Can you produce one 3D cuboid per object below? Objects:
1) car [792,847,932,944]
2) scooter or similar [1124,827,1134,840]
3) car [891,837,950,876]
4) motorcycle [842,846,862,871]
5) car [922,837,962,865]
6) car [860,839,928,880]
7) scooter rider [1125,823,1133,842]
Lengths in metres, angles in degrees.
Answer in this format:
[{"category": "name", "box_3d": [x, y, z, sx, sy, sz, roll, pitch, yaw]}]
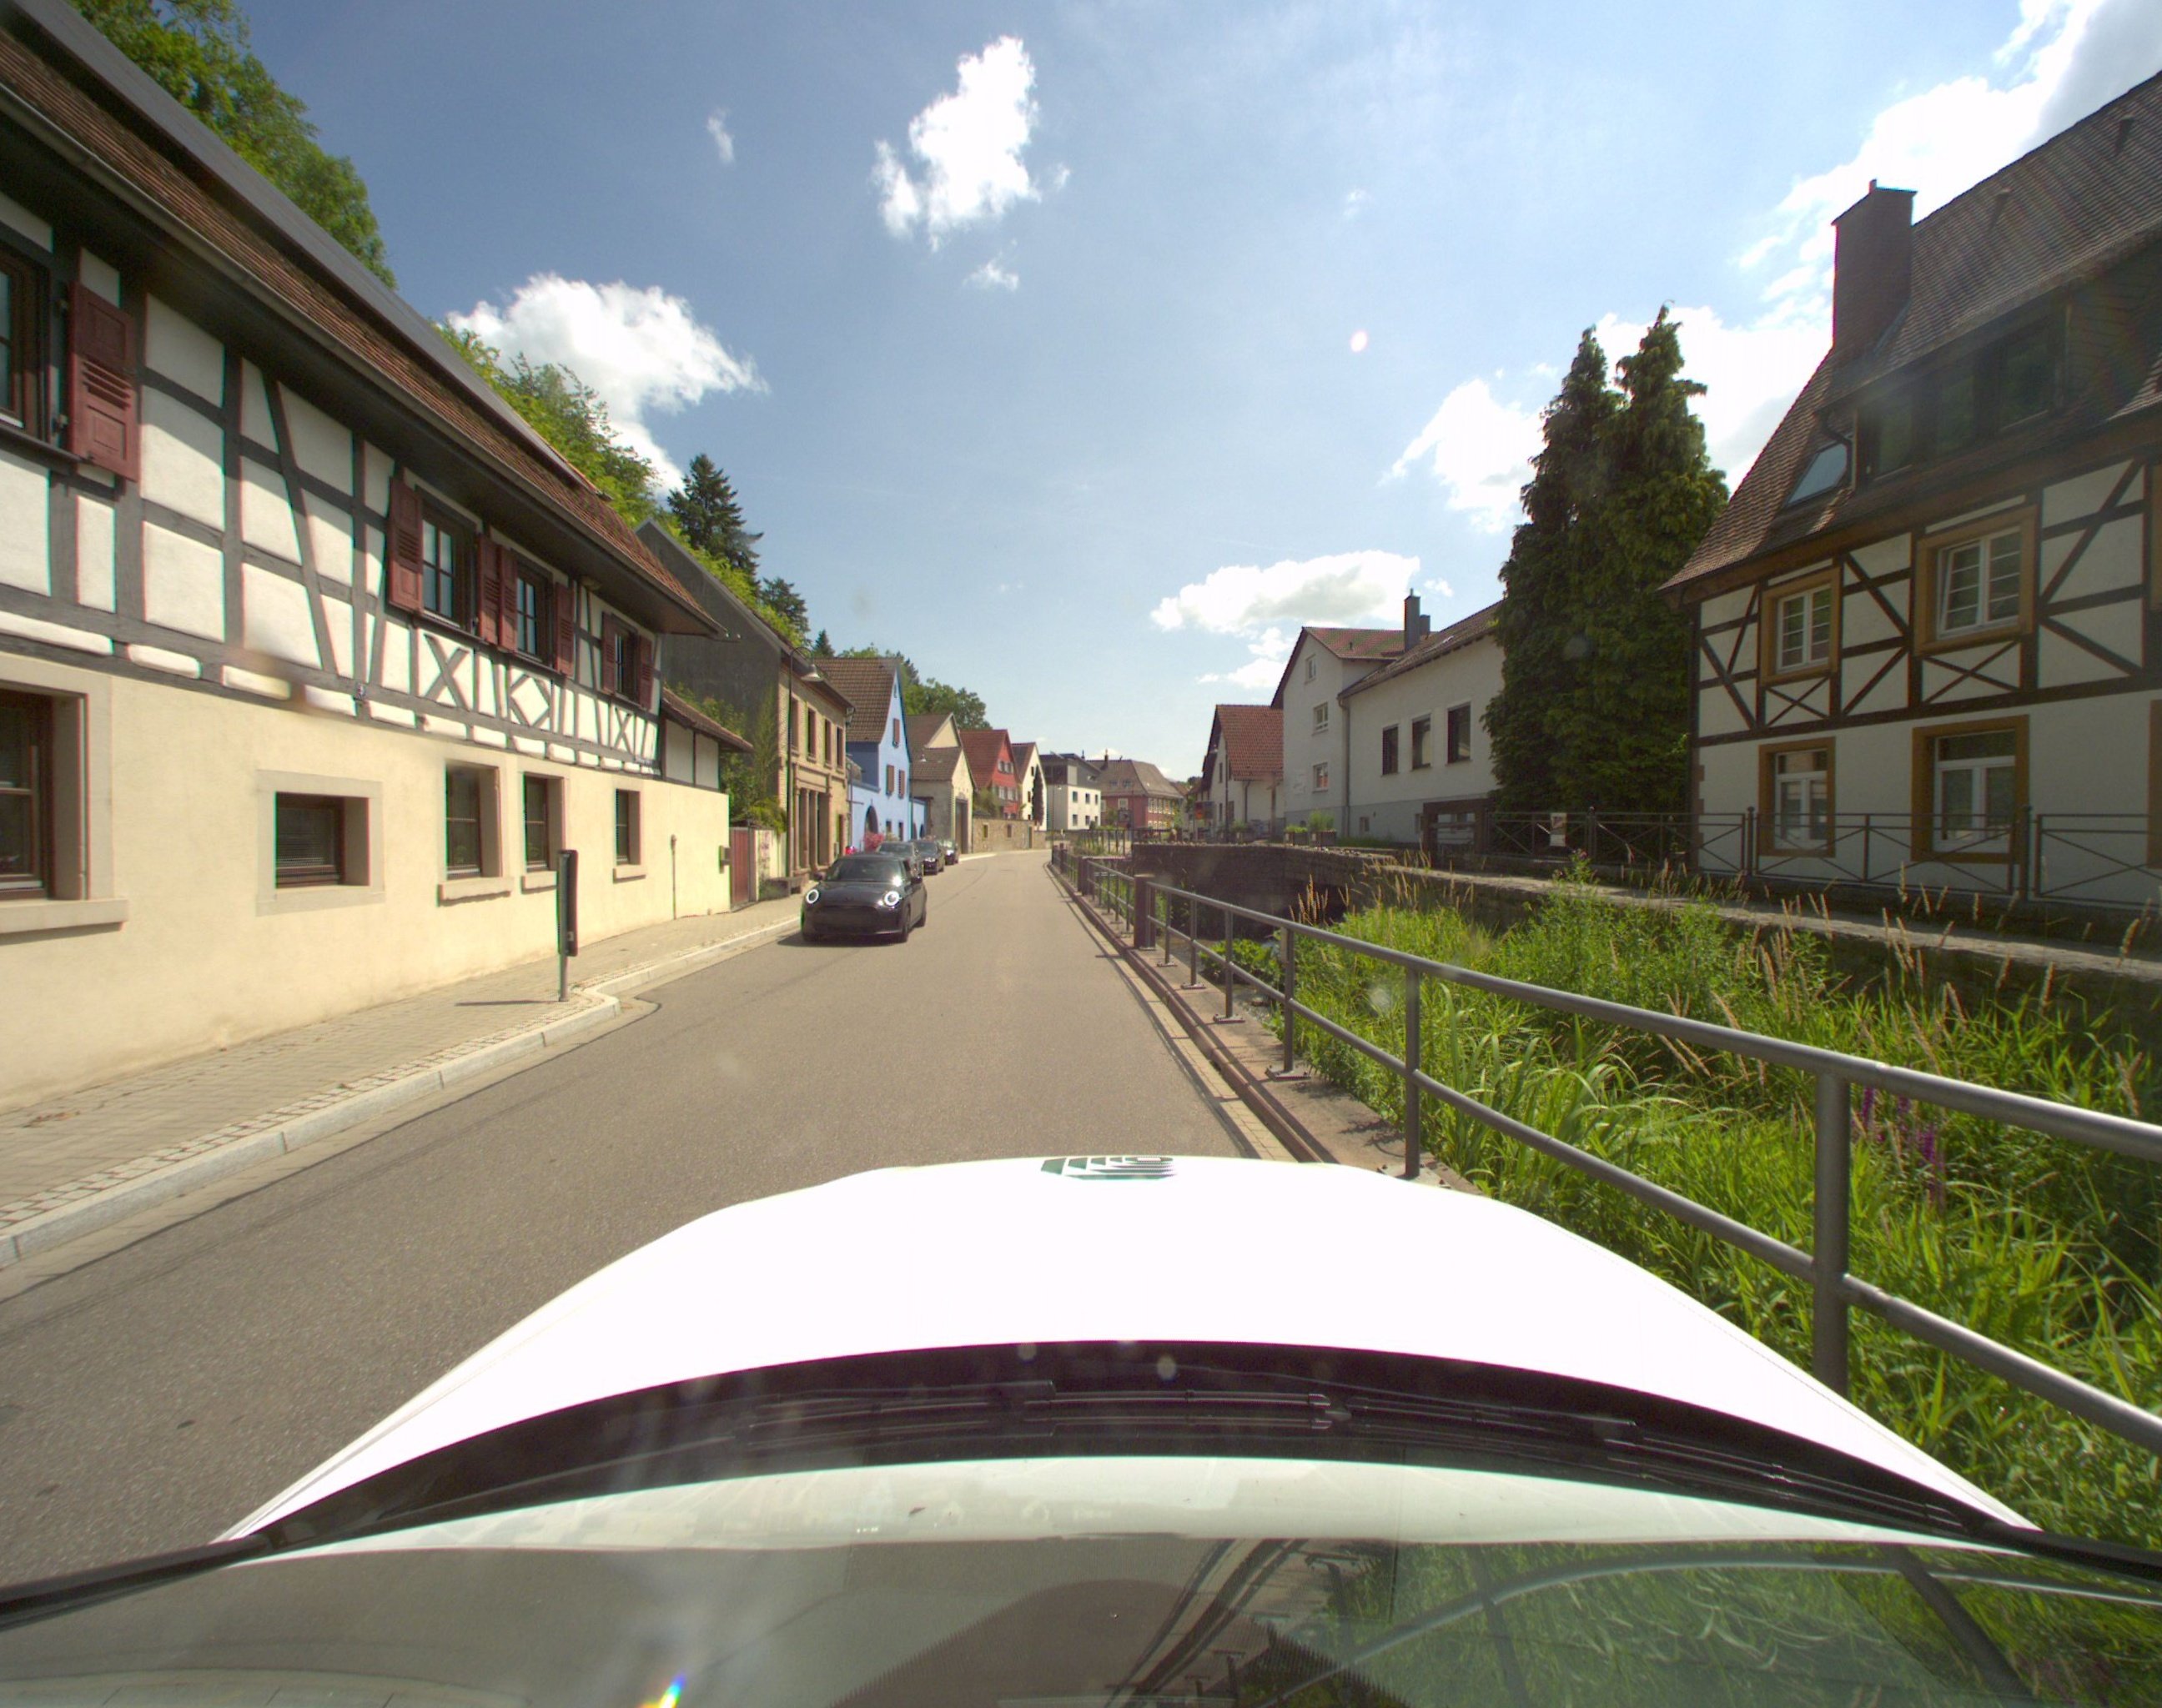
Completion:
[{"category": "car", "box_3d": [-3.786, 0.640, 14.835, 1.696, 1.465, 4.427, 1, 0, -5]}, {"category": "scooter or similar", "box_3d": [4.288, -1.792, 72.874, 0.640, 1.142, 1.809, -1, 1, -4]}, {"category": "car", "box_3d": [-7.100, 0.042, 36.503, 1.881, 1.463, 4.664, 3, 2, -3]}, {"category": "motorcycle", "box_3d": [-9.707, 0.180, 34.553, 0.417, 1.001, 1.855, 5, 0, -6]}, {"category": "car", "box_3d": [-7.938, -0.192, 46.792, 1.712, 1.530, 3.854, -1, 1, -1]}, {"category": "car", "box_3d": [-7.143, 0.173, 31.489, 1.954, 1.465, 4.537, 1, 0, -5]}, {"category": "scooter rider", "box_3d": [4.267, -1.932, 72.975, 0.640, 1.731, 0.553, 1, 1, -4]}]
